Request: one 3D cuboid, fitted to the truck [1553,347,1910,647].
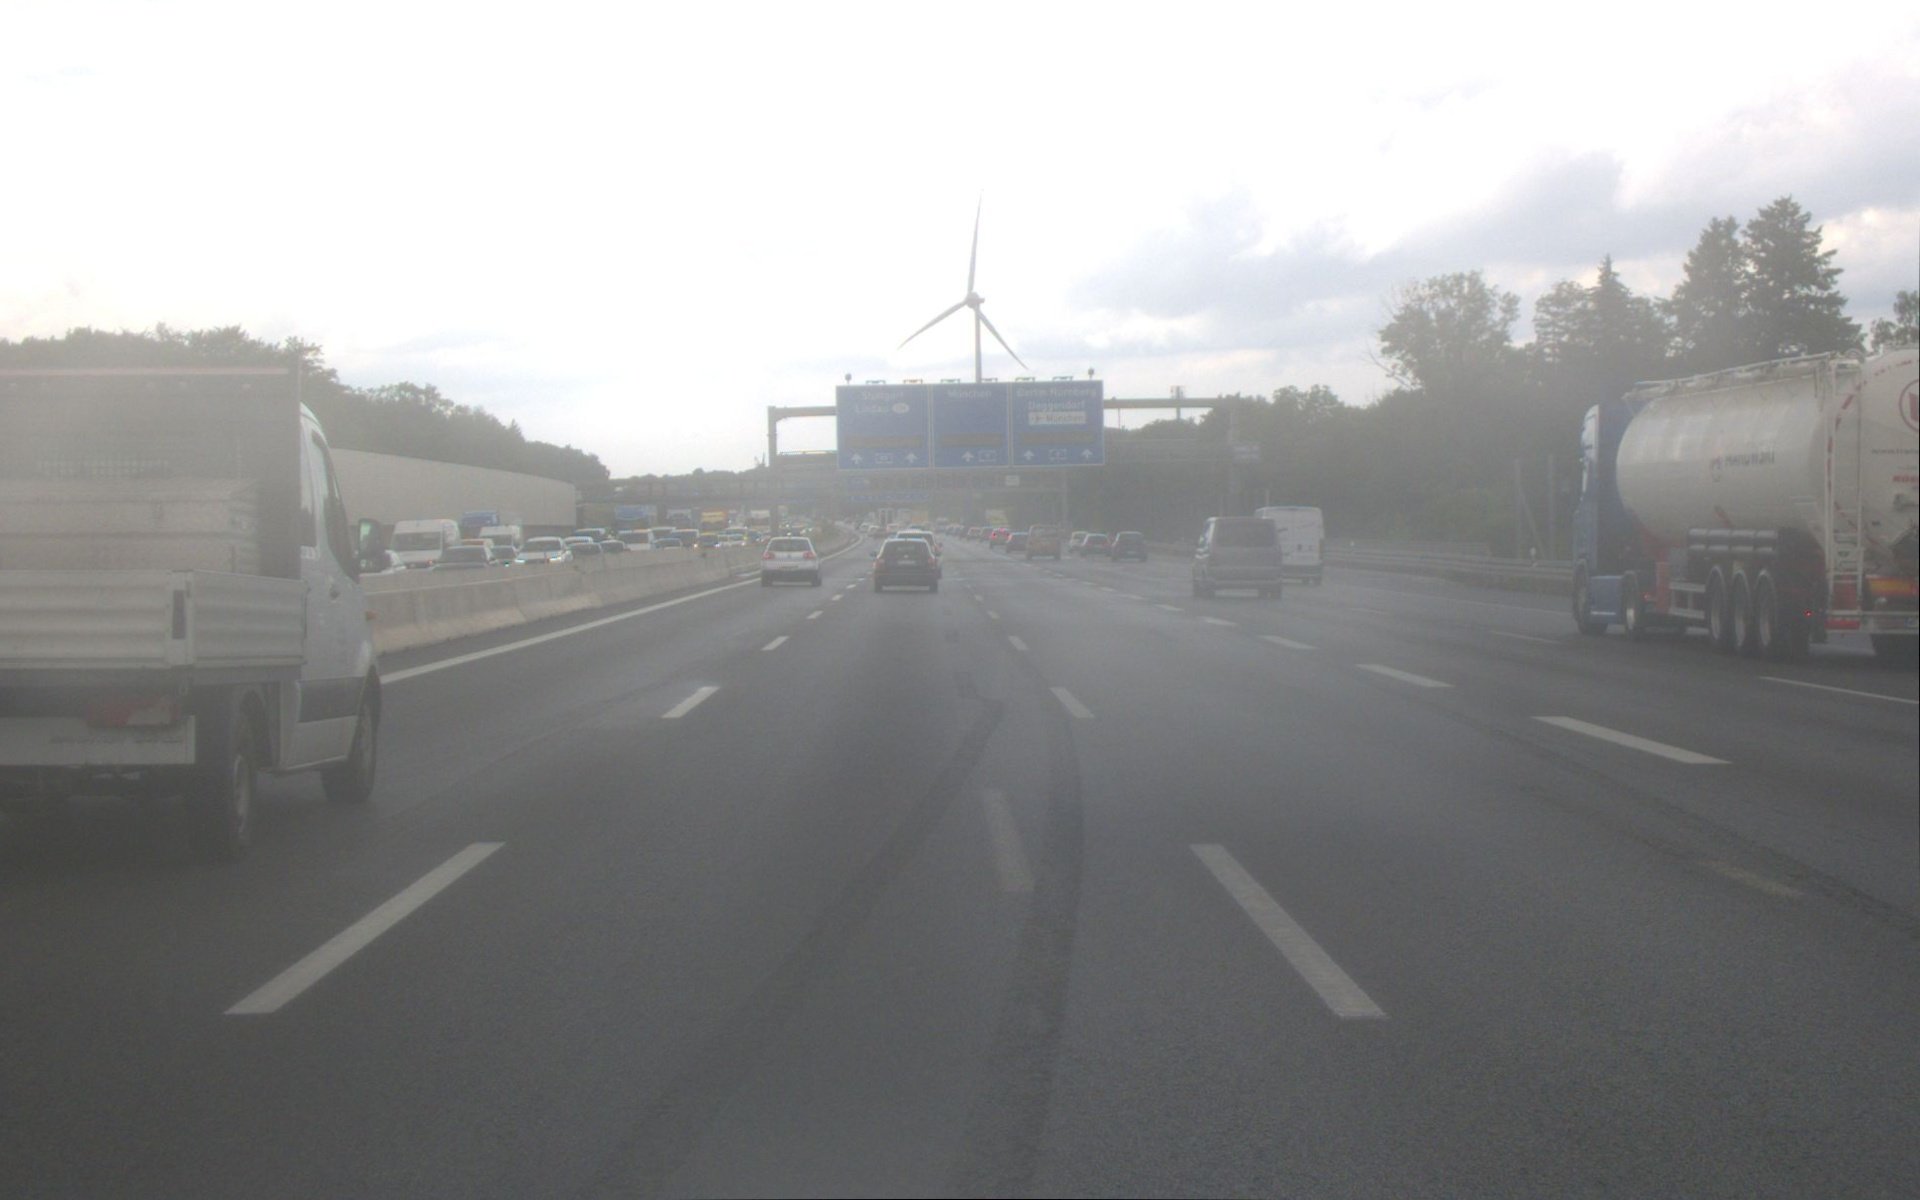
[{"bbox_3d":[11.240,-1.514,51.057,3.333,4.066,8.272,0,1,-1],"label":"truck"}]

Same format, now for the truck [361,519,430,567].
[{"bbox_3d":[-20.589,-2.096,125.590,1.993,1.702,4.314,0,1,-2],"label":"truck"}]

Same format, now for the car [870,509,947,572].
[{"bbox_3d":[-1.409,-1.654,94.344,2.045,1.693,4.001,0,2,-1],"label":"car"}]

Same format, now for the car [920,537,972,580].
[{"bbox_3d":[-0.521,-1.519,126.074,1.857,1.542,4.000,0,1,-1],"label":"car"}]

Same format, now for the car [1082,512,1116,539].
[{"bbox_3d":[8.970,-4.816,222.384,2.045,1.693,4.000,0,2,0],"label":"car"}]

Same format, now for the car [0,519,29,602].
[{"bbox_3d":[-24.006,-0.964,83.019,1.993,2.007,4.000,0,1,-1],"label":"car"}]

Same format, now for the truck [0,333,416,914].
[{"bbox_3d":[-4.424,-0.018,17.872,2.352,2.400,7.359,1,2,-3],"label":"truck"}]

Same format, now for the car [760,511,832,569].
[{"bbox_3d":[-4.949,-1.835,104.110,2.045,1.693,4.001,0,2,-1],"label":"car"}]

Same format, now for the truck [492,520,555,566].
[{"bbox_3d":[-16.360,-2.155,129.147,1.993,1.702,4.314,0,1,-2],"label":"truck"}]

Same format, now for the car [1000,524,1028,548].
[{"bbox_3d":[3.825,-4.562,244.112,1.868,1.722,4.000,0,1,-1],"label":"car"}]

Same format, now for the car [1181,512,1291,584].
[{"bbox_3d":[6.731,-1.303,84.205,2.097,1.693,4.001,0,2,-4],"label":"car"}]

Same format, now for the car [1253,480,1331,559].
[{"bbox_3d":[10.593,-2.584,109.916,2.045,2.489,4.001,0,2,-1],"label":"car"}]

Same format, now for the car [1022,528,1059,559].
[{"bbox_3d":[4.610,-3.219,196.391,2.045,1.693,4.000,0,2,0],"label":"car"}]

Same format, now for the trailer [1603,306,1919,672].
[{"bbox_3d":[11.296,-1.406,45.129,3.332,4.161,11.839,0,1,-1],"label":"trailer"}]

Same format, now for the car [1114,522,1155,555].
[{"bbox_3d":[9.601,-3.387,189.231,1.993,1.744,4.497,0,1,-1],"label":"car"}]
